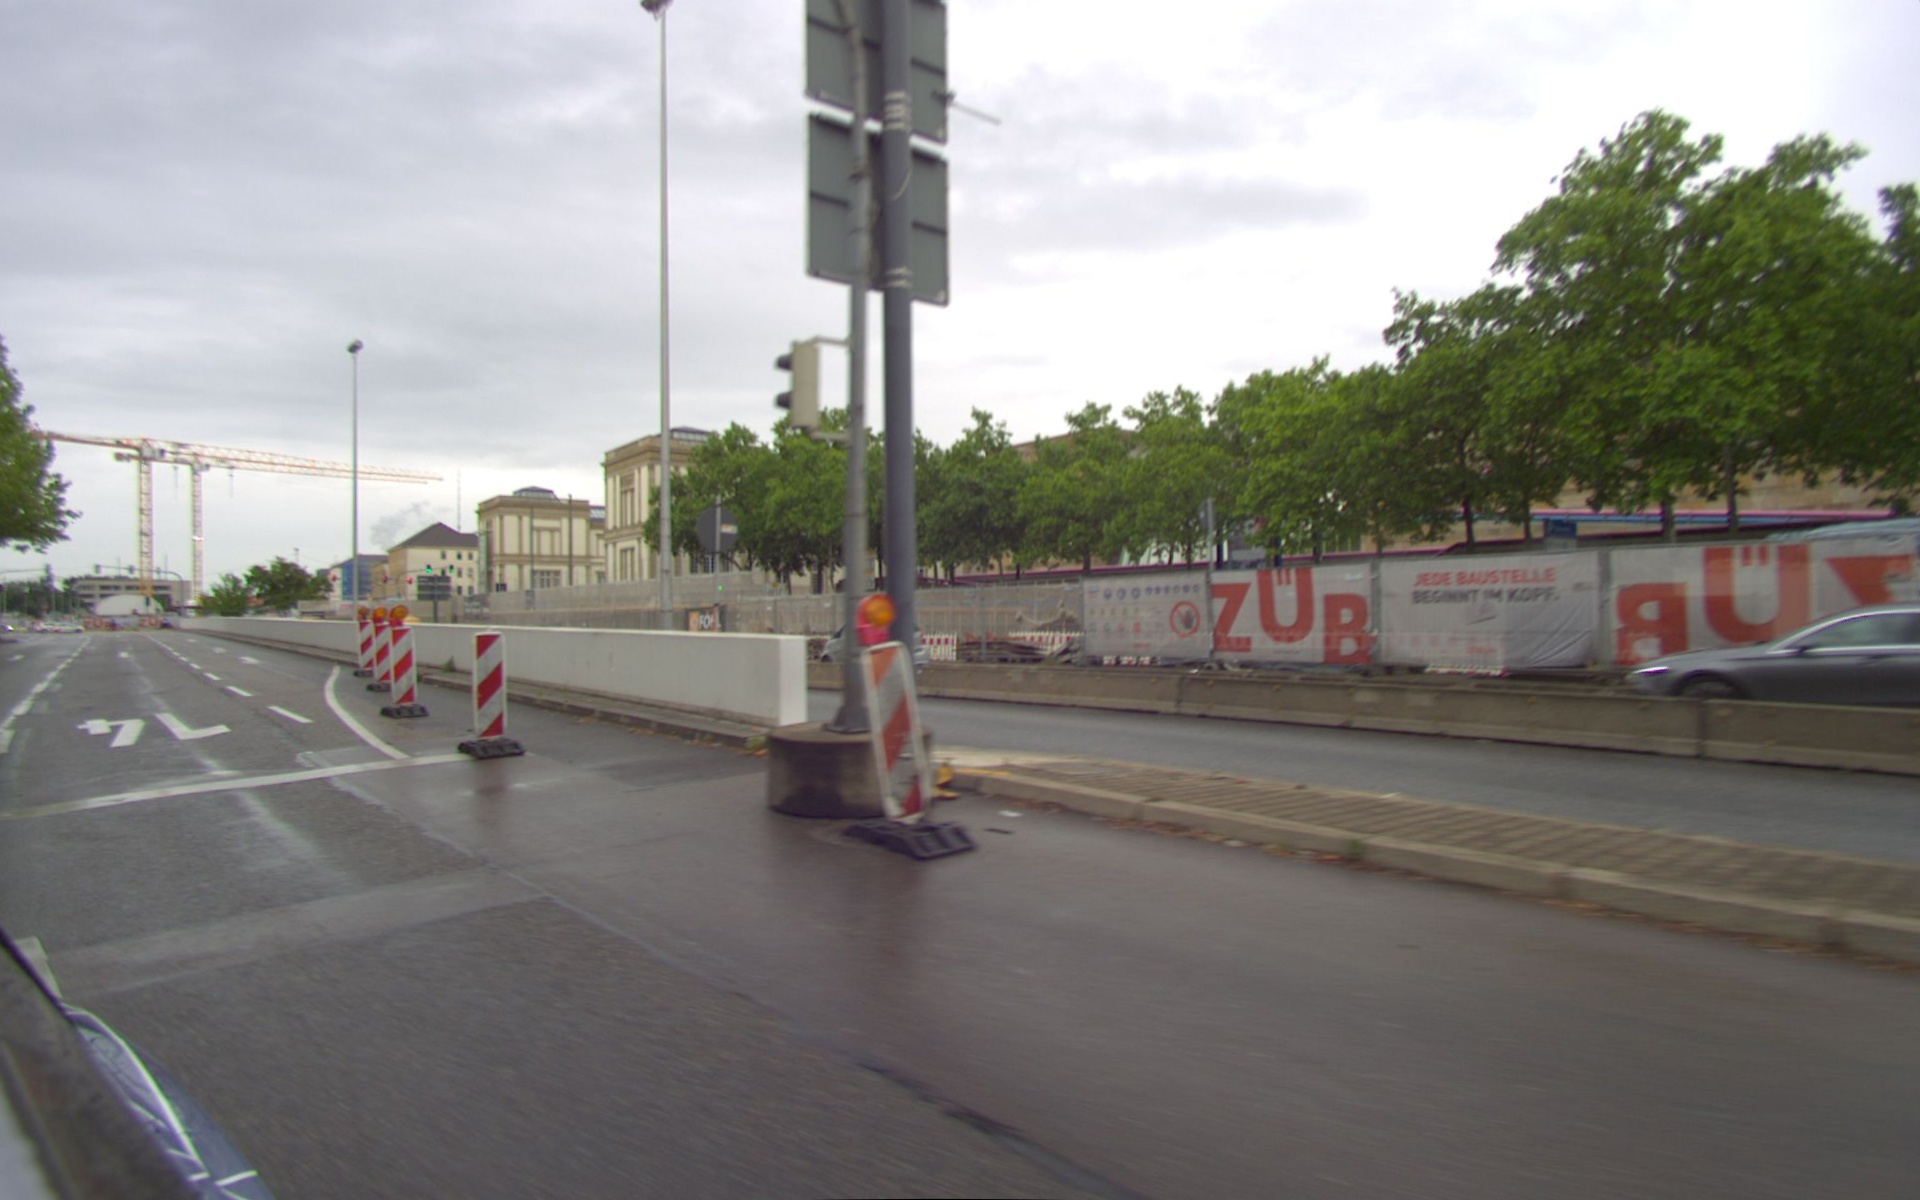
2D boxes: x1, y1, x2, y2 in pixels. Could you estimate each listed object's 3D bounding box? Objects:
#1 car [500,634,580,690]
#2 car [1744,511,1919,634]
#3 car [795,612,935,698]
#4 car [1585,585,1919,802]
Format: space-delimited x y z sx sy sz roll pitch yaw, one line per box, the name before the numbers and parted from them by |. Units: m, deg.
car | -17.076 2.448 41.057 1.874 2.029 4.007 1 -1 -40
car | 16.643 -0.466 17.319 1.968 2.029 4.726 -1 -1 -38
car | -2.319 1.237 24.263 1.679 1.882 3.362 1 -1 -41
car | 9.440 0.890 10.427 1.884 2.029 4.765 2 -1 -41
